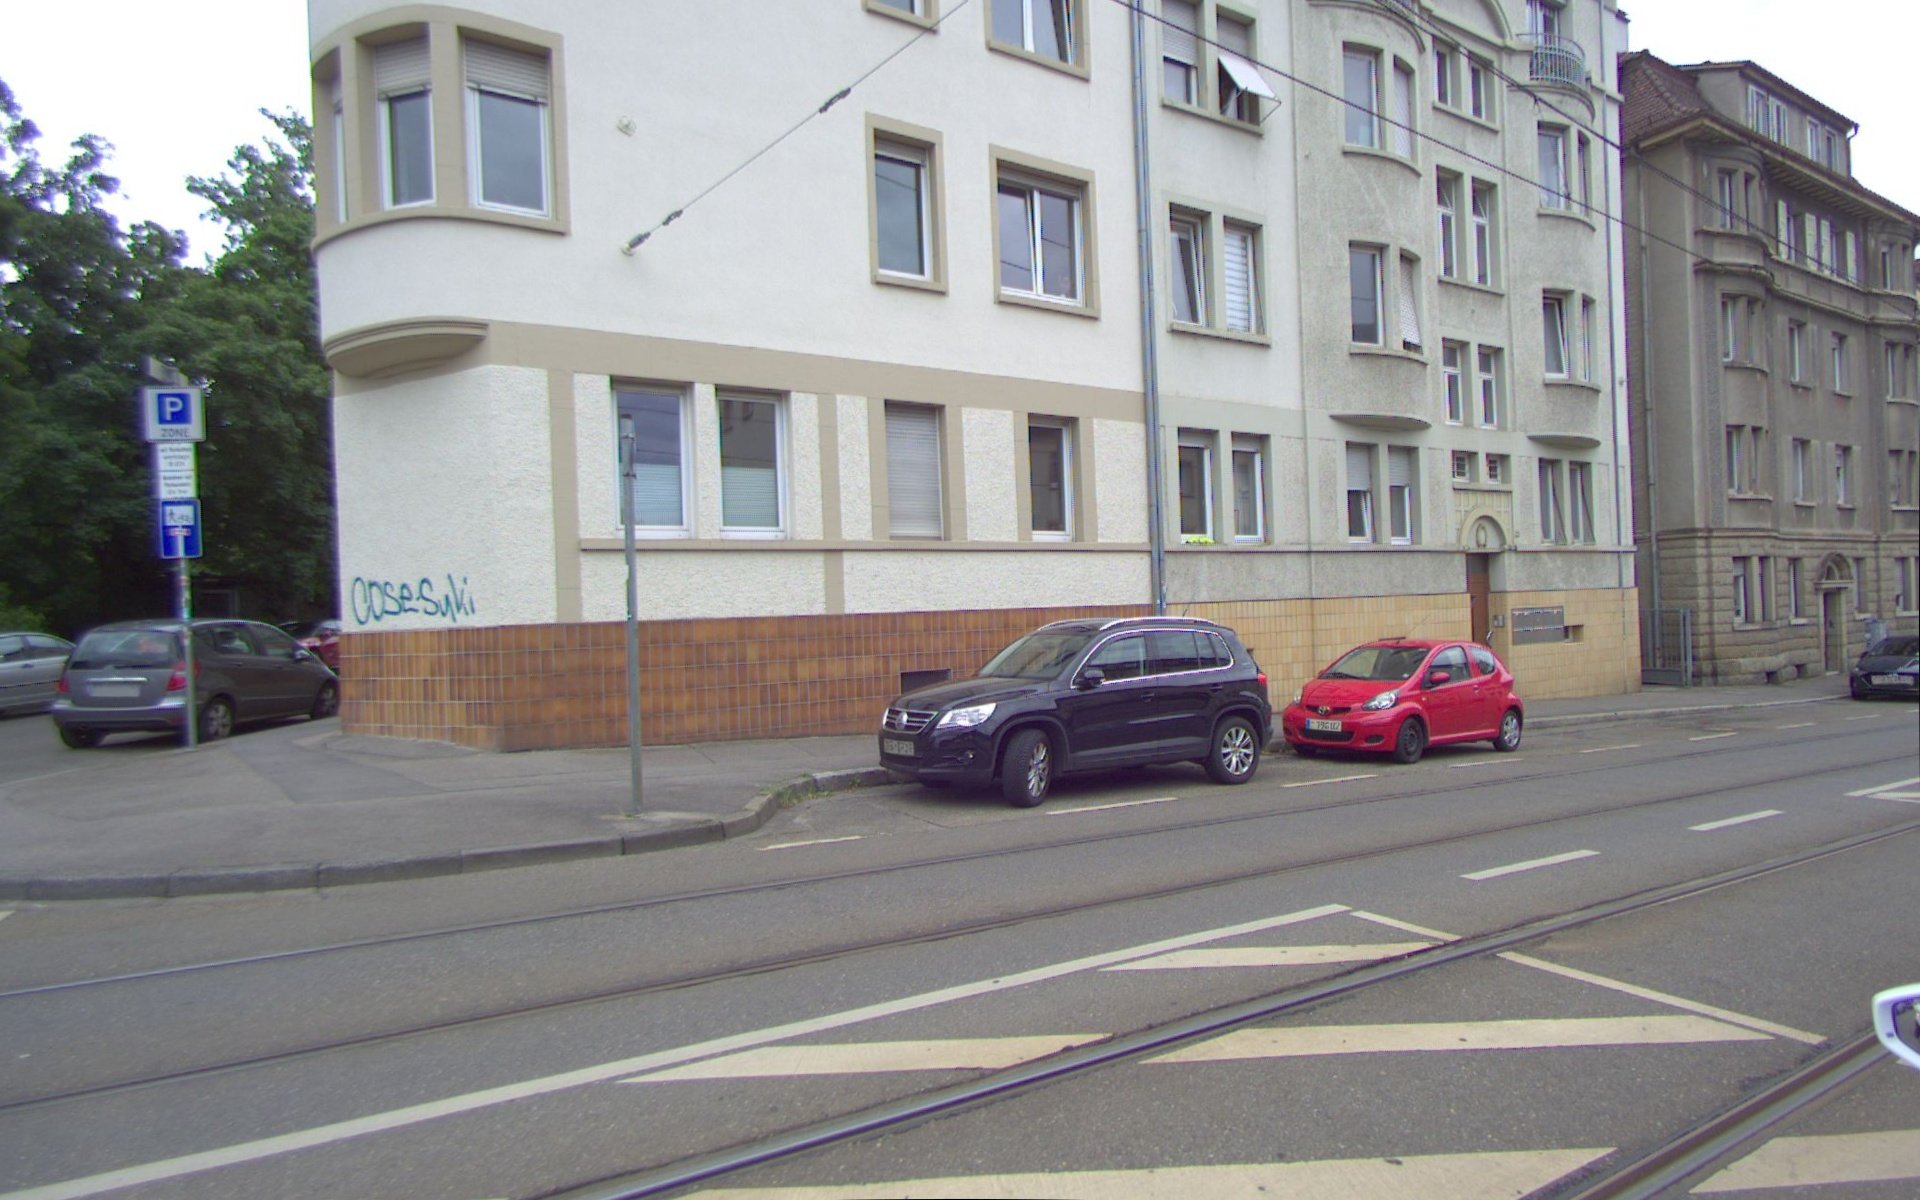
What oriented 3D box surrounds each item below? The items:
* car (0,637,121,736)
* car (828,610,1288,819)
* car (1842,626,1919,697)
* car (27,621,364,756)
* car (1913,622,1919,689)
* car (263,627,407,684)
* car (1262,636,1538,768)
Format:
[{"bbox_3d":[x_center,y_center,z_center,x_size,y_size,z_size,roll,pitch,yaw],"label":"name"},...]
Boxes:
[{"bbox_3d":[-15.938,1.416,16.142,1.727,1.459,3.997,-1,0,-4],"label":"car"},{"bbox_3d":[1.062,1.030,10.012,4.354,1.667,1.858,2,-4,-32],"label":"car"},{"bbox_3d":[21.690,1.383,22.670,3.989,1.482,1.612,2,-4,-32],"label":"car"},{"bbox_3d":[-10.355,1.131,14.059,1.840,1.592,3.998,0,-2,-4],"label":"car"},{"bbox_3d":[25.575,1.394,25.040,4.303,1.625,1.612,2,-4,-32],"label":"car"},{"bbox_3d":[-17.193,1.500,27.877,1.727,1.438,3.998,0,-2,-4],"label":"car"},{"bbox_3d":[5.791,1.252,13.100,3.709,1.482,1.610,2,-4,-35],"label":"car"}]
